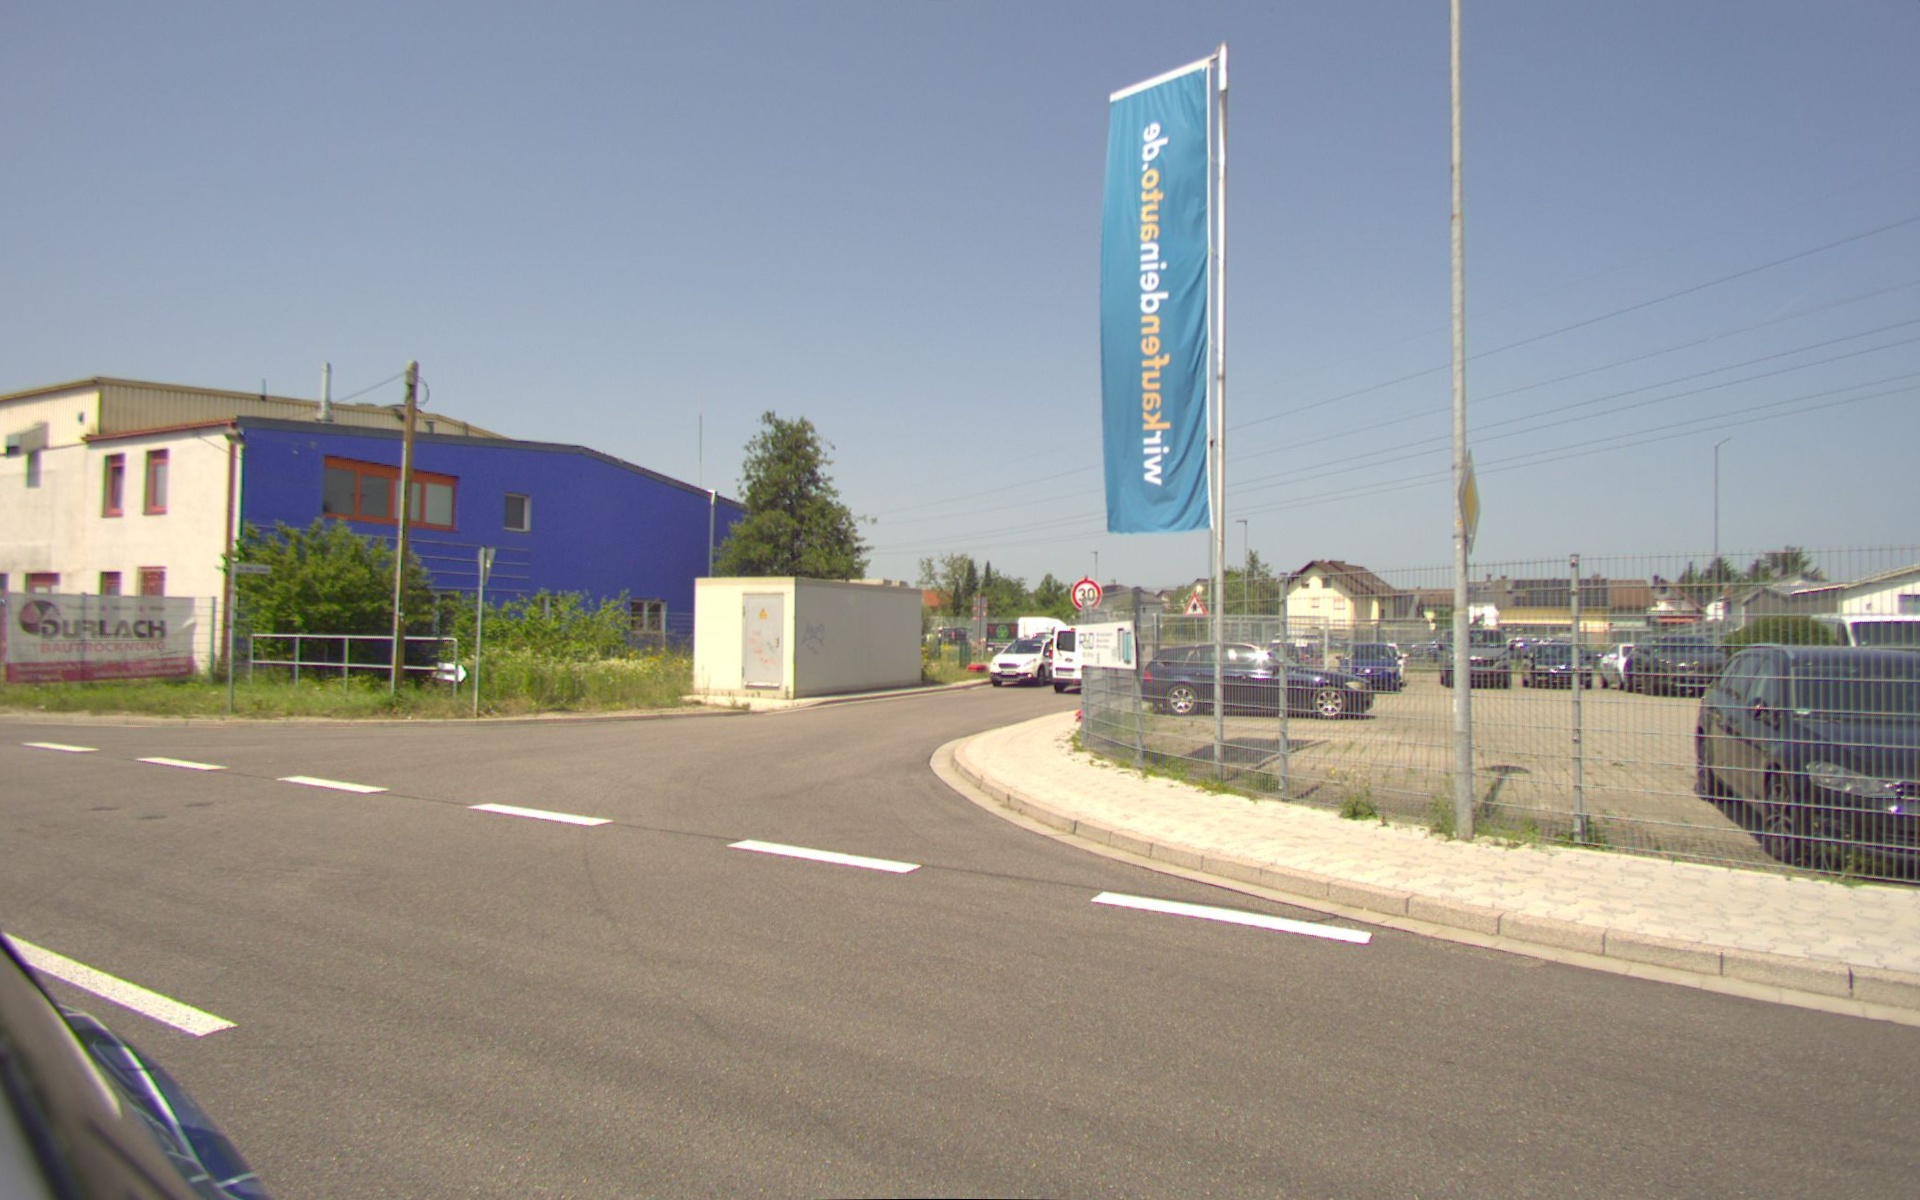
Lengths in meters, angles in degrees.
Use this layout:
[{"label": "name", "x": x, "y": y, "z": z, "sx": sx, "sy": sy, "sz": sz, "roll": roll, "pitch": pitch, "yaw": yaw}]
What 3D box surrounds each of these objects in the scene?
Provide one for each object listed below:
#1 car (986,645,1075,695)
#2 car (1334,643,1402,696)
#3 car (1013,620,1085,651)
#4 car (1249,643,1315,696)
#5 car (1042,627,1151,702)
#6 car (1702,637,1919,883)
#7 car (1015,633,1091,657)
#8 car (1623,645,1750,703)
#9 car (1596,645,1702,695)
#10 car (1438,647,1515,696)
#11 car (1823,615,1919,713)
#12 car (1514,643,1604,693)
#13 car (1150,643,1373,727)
[{"label": "car", "x": 2.429, "y": 2.282, "z": 33.684, "sx": 1.763, "sy": 1.514, "sz": 4.130, "roll": 0, "pitch": -2, "yaw": 22}, {"label": "car", "x": 12.379, "y": 2.078, "z": 30.892, "sx": 1.762, "sy": 1.514, "sz": 3.785, "roll": -1, "pitch": -3, "yaw": 20}, {"label": "car", "x": 5.877, "y": 2.338, "z": 66.468, "sx": 4.599, "sy": 2.029, "sz": 1.995, "roll": 0, "pitch": -3, "yaw": 8}, {"label": "car", "x": 9.978, "y": 2.098, "z": 31.181, "sx": 1.762, "sy": 1.514, "sz": 3.973, "roll": -1, "pitch": -3, "yaw": 20}, {"label": "car", "x": 4.252, "y": 1.919, "z": 30.908, "sx": 1.997, "sy": 2.076, "sz": 4.773, "roll": 1, "pitch": -2, "yaw": 24}, {"label": "car", "x": 7.402, "y": 1.066, "z": 7.786, "sx": 1.763, "sy": 1.514, "sz": 3.970, "roll": -1, "pitch": -3, "yaw": 22}, {"label": "car", "x": 5.856, "y": 2.838, "z": 63.553, "sx": 4.530, "sy": 1.438, "sz": 1.992, "roll": 0, "pitch": -3, "yaw": 13}, {"label": "car", "x": 19.399, "y": 1.929, "z": 27.220, "sx": 1.862, "sy": 1.431, "sz": 4.045, "roll": -1, "pitch": -3, "yaw": 23}, {"label": "car", "x": 21.319, "y": 2.140, "z": 31.488, "sx": 1.886, "sy": 1.431, "sz": 4.167, "roll": -1, "pitch": -3, "yaw": 23}, {"label": "car", "x": 16.964, "y": 2.302, "z": 33.411, "sx": 1.762, "sy": 1.514, "sz": 3.973, "roll": -1, "pitch": -3, "yaw": 20}, {"label": "car", "x": 22.843, "y": 1.539, "z": 24.724, "sx": 1.994, "sy": 2.213, "sz": 4.274, "roll": -1, "pitch": -3, "yaw": 32}, {"label": "car", "x": 19.370, "y": 2.167, "z": 32.896, "sx": 1.762, "sy": 1.514, "sz": 3.973, "roll": -1, "pitch": -3, "yaw": 20}, {"label": "car", "x": 5.913, "y": 1.606, "z": 19.878, "sx": 3.977, "sy": 1.514, "sz": 1.760, "roll": -1, "pitch": -3, "yaw": 25}]
